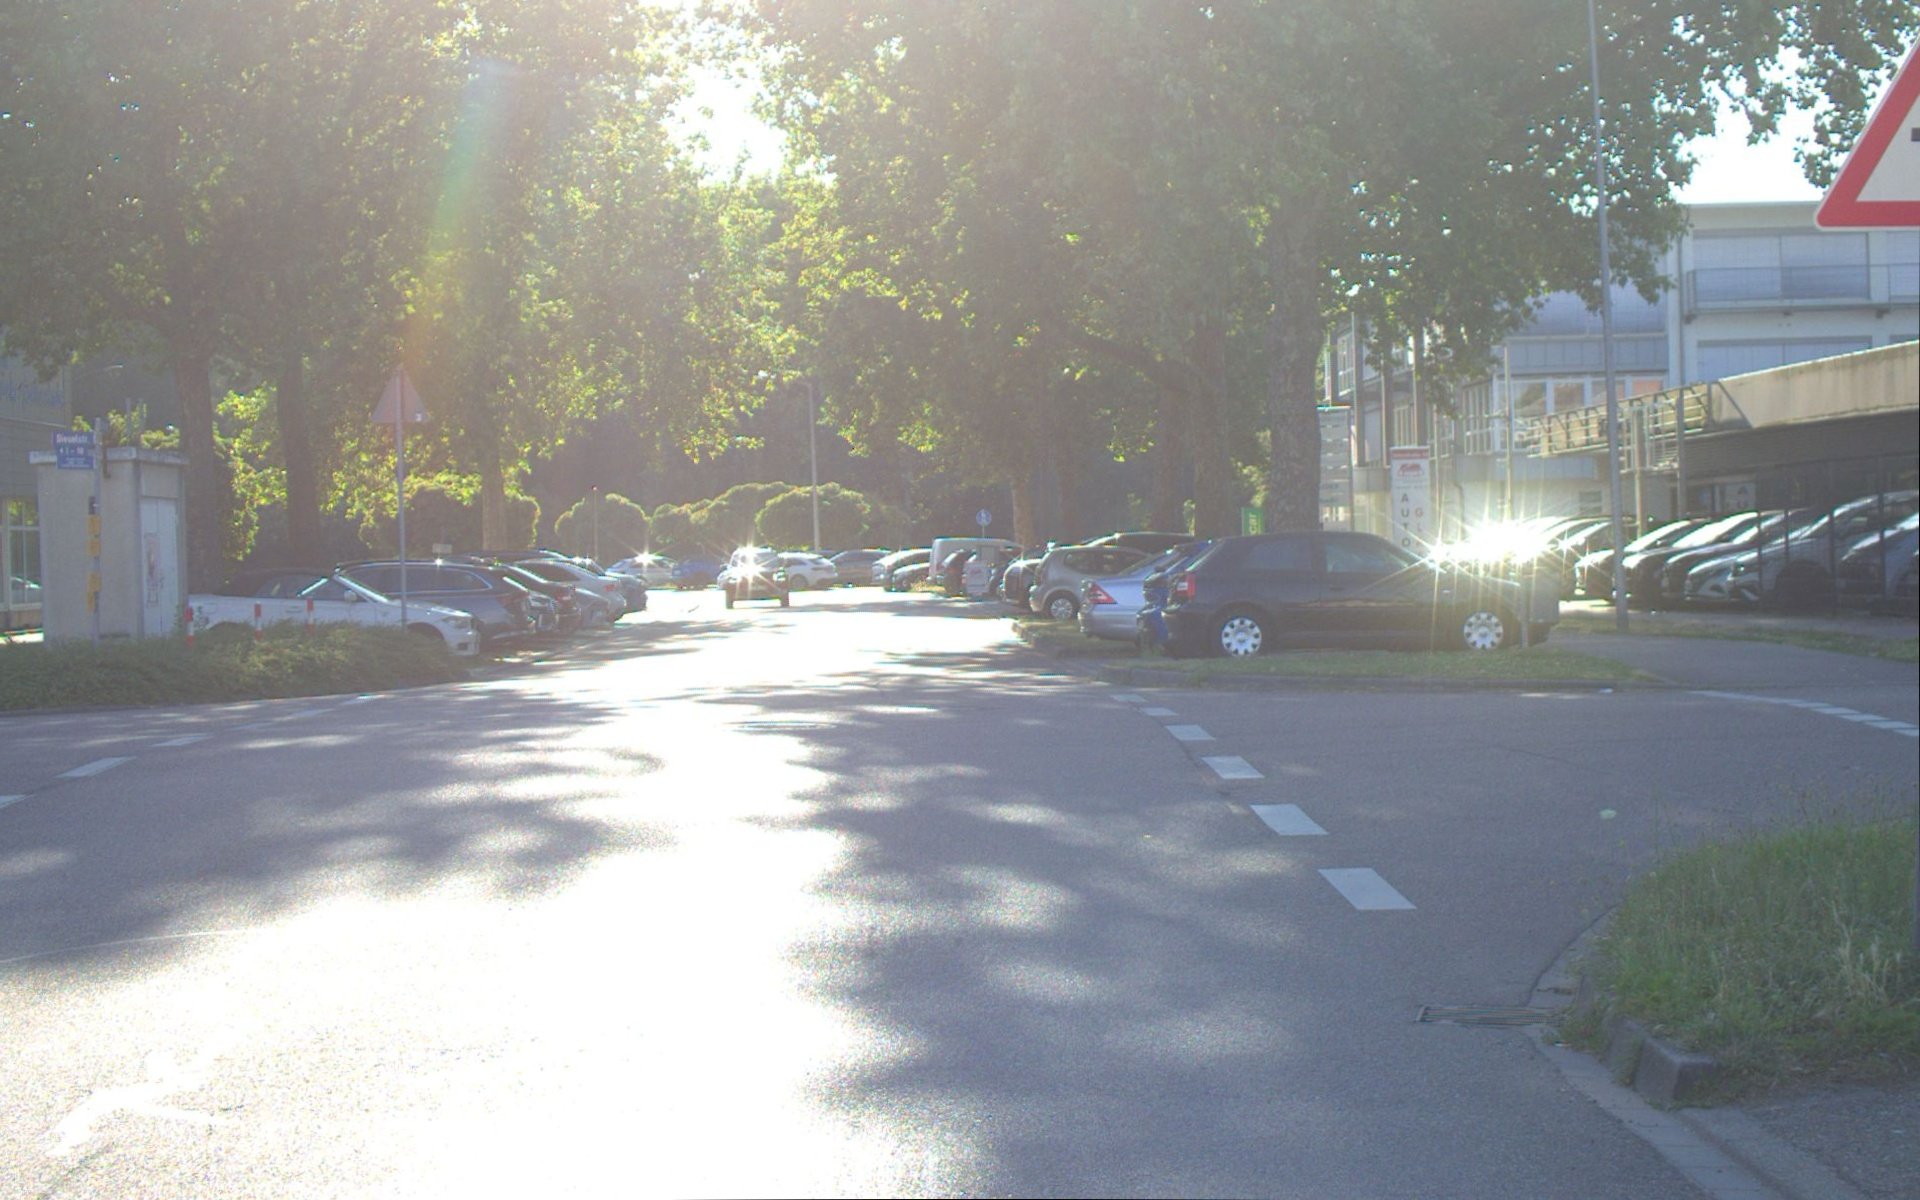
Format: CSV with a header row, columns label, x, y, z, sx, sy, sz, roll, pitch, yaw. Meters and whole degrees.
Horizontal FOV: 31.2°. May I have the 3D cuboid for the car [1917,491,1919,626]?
label,x,y,z,sx,sy,sz,roll,pitch,yaw
car,14.099,-0.523,42.409,3.986,1.694,2.000,0,0,-2

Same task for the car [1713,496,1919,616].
label,x,y,z,sx,sy,sz,roll,pitch,yaw
car,13.992,-0.685,53.696,3.986,1.826,2.000,0,0,-2

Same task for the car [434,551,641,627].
label,x,y,z,sx,sy,sz,roll,pitch,yaw
car,-9.521,-0.257,77.720,4.415,1.692,2.000,0,0,1

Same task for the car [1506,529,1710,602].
label,x,y,z,sx,sy,sz,roll,pitch,yaw
car,13.972,-0.740,74.281,3.986,1.541,2.000,0,0,-2

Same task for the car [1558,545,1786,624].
label,x,y,z,sx,sy,sz,roll,pitch,yaw
car,13.847,-0.311,67.041,3.986,1.499,2.000,0,0,-2

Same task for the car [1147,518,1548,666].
label,x,y,z,sx,sy,sz,roll,pitch,yaw
car,4.080,-0.091,36.683,3.987,1.411,2.000,-2,0,-1

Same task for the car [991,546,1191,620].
label,x,y,z,sx,sy,sz,roll,pitch,yaw
car,2.669,-0.355,70.873,3.987,1.376,1.827,-2,0,-1

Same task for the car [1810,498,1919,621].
label,x,y,z,sx,sy,sz,roll,pitch,yaw
car,14.232,-0.575,48.445,3.986,1.694,2.000,0,0,-2

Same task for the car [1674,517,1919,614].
label,x,y,z,sx,sy,sz,roll,pitch,yaw
car,13.899,-0.564,56.250,3.986,1.541,2.000,0,0,-2

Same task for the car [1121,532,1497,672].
label,x,y,z,sx,sy,sz,roll,pitch,yaw
car,3.905,0.016,38.971,3.987,1.411,2.000,-2,0,-1

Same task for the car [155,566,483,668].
label,x,y,z,sx,sy,sz,roll,pitch,yaw
car,-9.037,0.230,48.771,4.414,1.398,2.000,0,0,-6

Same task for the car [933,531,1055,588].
label,x,y,z,sx,sy,sz,roll,pitch,yaw
car,1.118,-1.363,115.463,3.987,1.771,1.827,-2,0,-1

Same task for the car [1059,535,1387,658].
label,x,y,z,sx,sy,sz,roll,pitch,yaw
car,3.329,-0.047,44.018,3.987,1.411,1.827,-2,0,-1

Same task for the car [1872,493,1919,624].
label,x,y,z,sx,sy,sz,roll,pitch,yaw
car,14.382,-0.552,45.662,3.986,1.694,2.000,0,0,-2

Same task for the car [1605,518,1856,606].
label,x,y,z,sx,sy,sz,roll,pitch,yaw
car,13.731,-0.672,61.413,3.986,1.541,2.000,0,0,-2

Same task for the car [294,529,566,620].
label,x,y,z,sx,sy,sz,roll,pitch,yaw
car,-8.954,-0.433,58.377,4.415,1.511,2.000,0,0,-4

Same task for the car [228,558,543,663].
label,x,y,z,sx,sy,sz,roll,pitch,yaw
car,-8.518,0.142,51.243,4.415,1.511,2.000,0,0,-2

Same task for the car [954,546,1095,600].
label,x,y,z,sx,sy,sz,roll,pitch,yaw
car,1.853,-0.791,99.482,3.987,1.411,1.827,-2,0,-1

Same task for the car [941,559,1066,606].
label,x,y,z,sx,sy,sz,roll,pitch,yaw
car,1.406,-0.577,112.028,3.987,1.411,1.827,-2,0,-1

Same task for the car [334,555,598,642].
label,x,y,z,sx,sy,sz,roll,pitch,yaw
car,-8.796,-0.032,61.512,4.415,1.511,2.000,0,0,1

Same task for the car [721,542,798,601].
label,x,y,z,sx,sy,sz,roll,pitch,yaw
car,-5.590,-0.801,96.241,1.993,1.603,4.000,1,0,-1

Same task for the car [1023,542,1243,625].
label,x,y,z,sx,sy,sz,roll,pitch,yaw
car,3.240,-0.323,64.899,3.987,1.411,1.827,-2,0,-1

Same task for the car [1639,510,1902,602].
label,x,y,z,sx,sy,sz,roll,pitch,yaw
car,13.801,-0.752,58.684,3.986,1.541,2.000,0,0,-2

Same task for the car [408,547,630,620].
label,x,y,z,sx,sy,sz,roll,pitch,yaw
car,-9.282,-0.352,72.663,4.415,1.511,2.000,0,0,1
